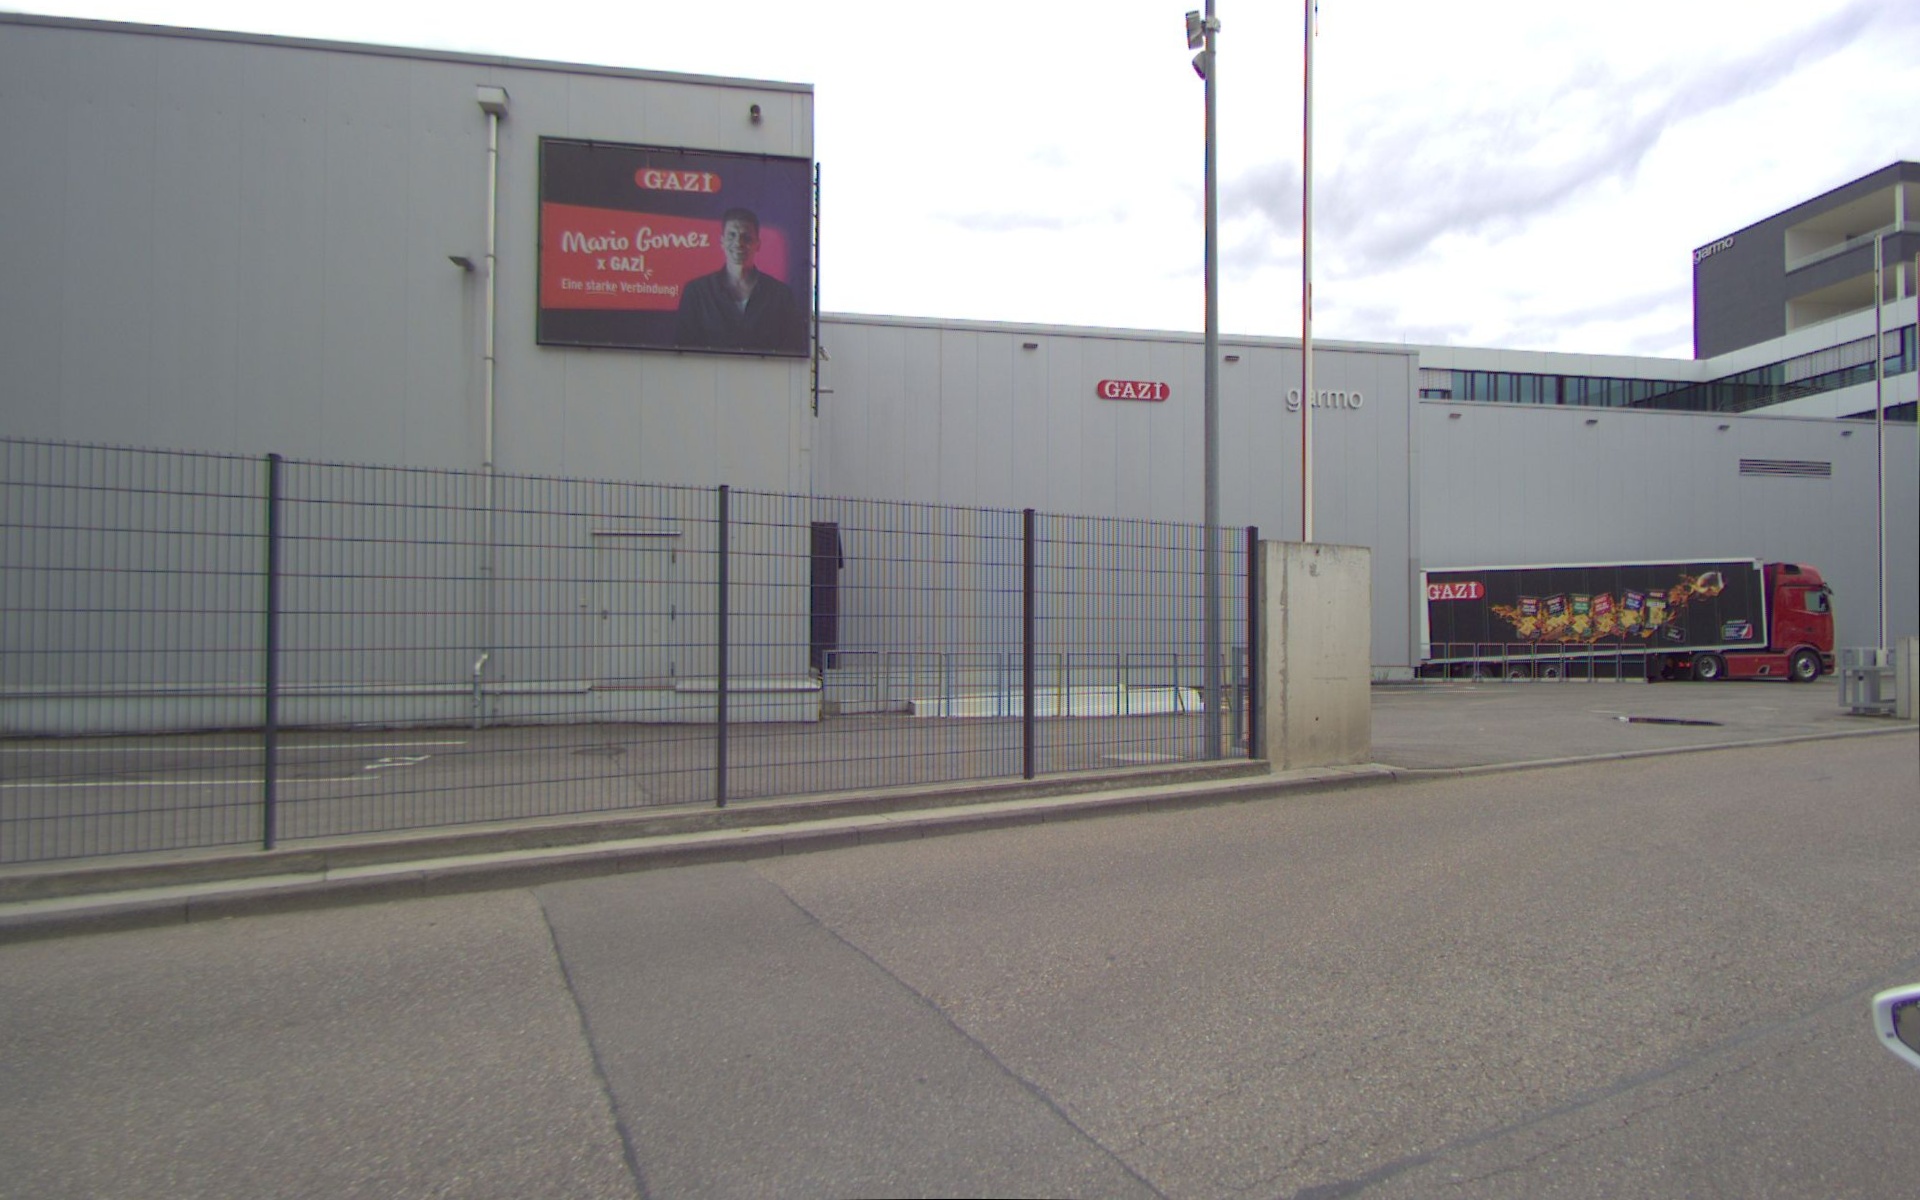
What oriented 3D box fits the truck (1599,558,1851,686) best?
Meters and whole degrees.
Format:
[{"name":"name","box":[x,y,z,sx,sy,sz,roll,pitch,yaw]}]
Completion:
[{"name":"truck","box":[25.797,0.769,34.021,6.963,4.084,2.747,0,-1,-9]}]

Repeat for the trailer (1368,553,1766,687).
[{"name":"trailer","box":[19.909,0.699,33.066,12.388,4.084,2.747,1,-1,-9]}]
